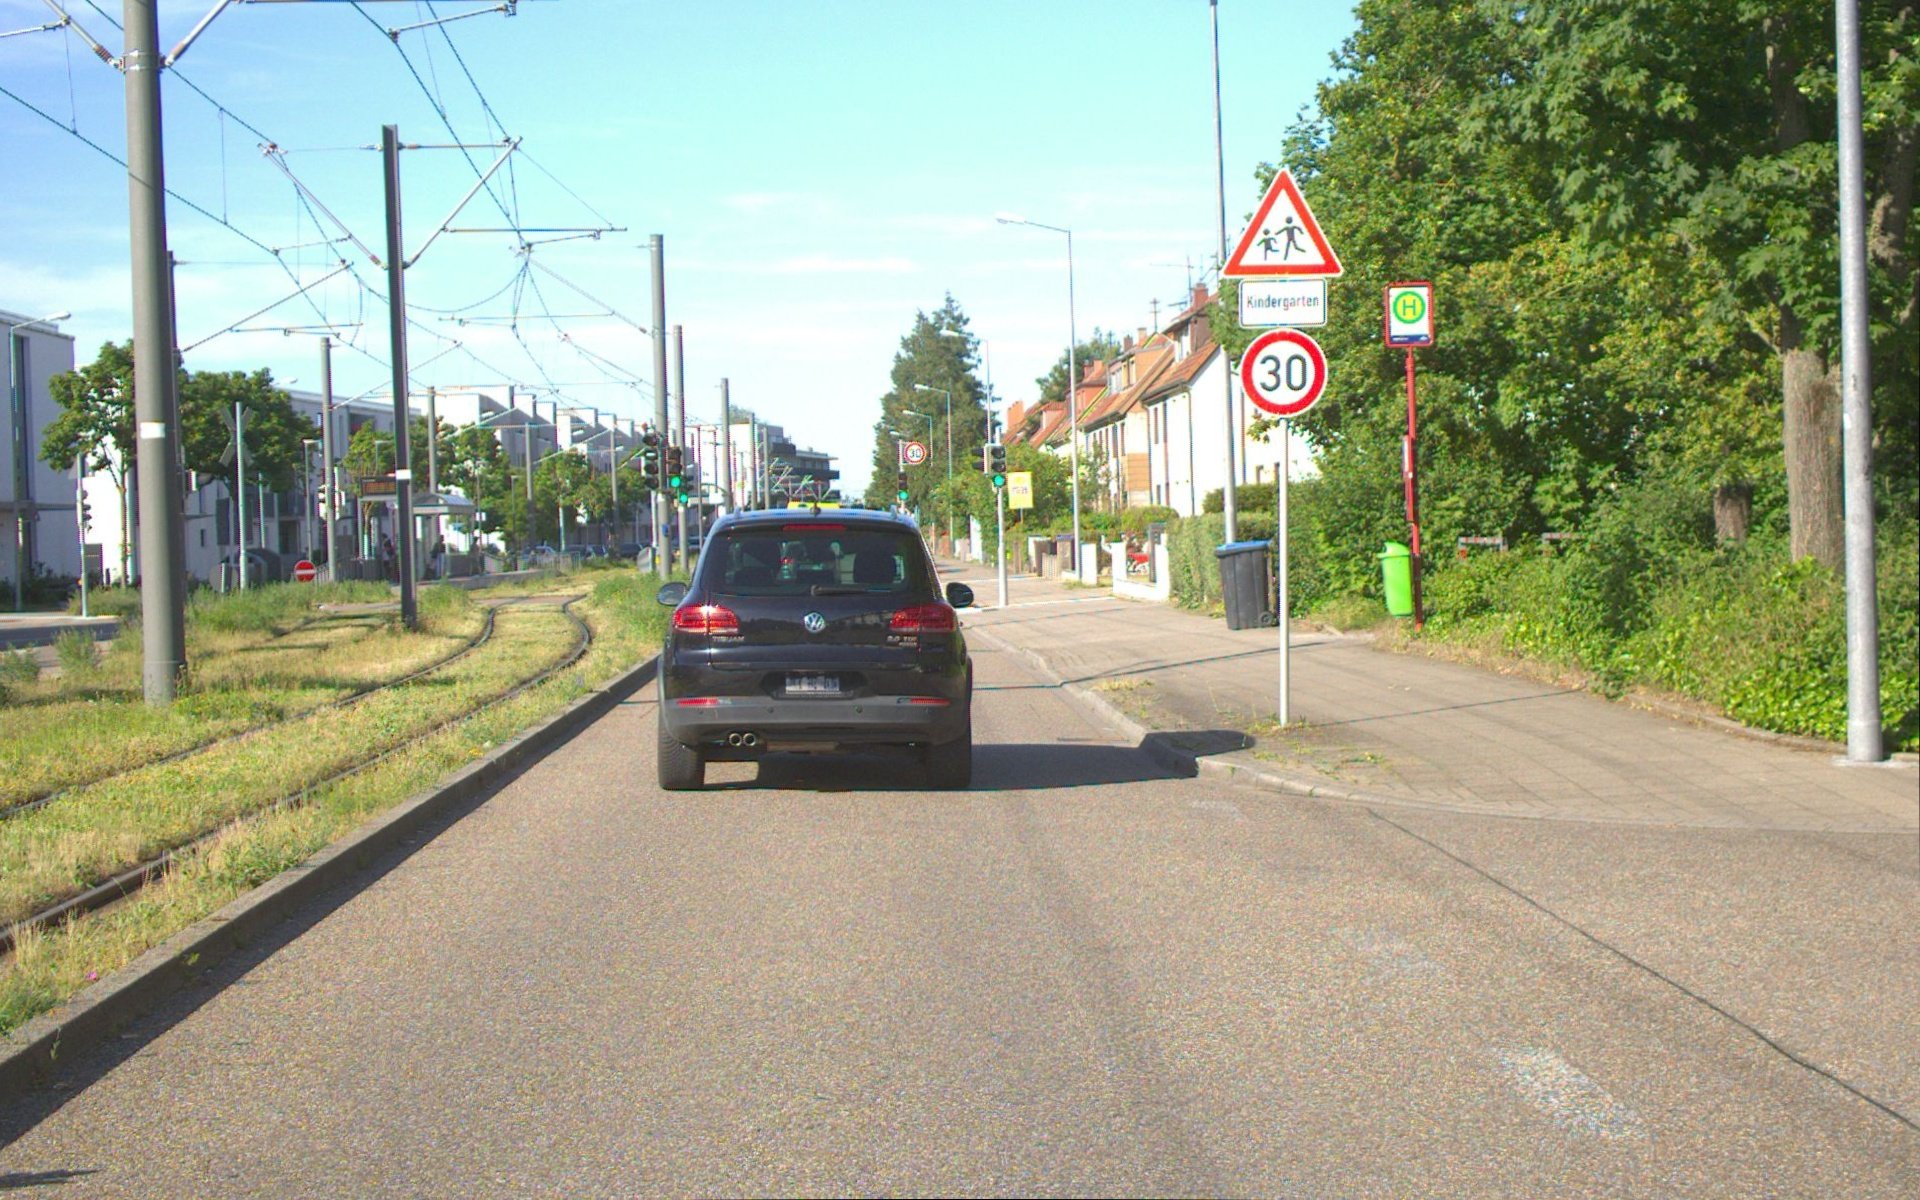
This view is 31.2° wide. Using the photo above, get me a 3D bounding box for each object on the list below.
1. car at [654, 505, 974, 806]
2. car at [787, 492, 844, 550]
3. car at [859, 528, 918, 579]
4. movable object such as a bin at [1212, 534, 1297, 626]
[{"bbox_3d":[-0.941,0.272,21.240,1.775,1.664,4.001,-1,1,-4],"label":"car"},{"bbox_3d":[-6.628,-3.636,158.470,2.394,2.556,5.530,-2,1,-1],"label":"car"},{"bbox_3d":[-2.443,-1.598,116.926,1.775,1.664,4.001,-2,1,-4],"label":"car"},{"bbox_3d":[3.731,-0.266,43.644,0.976,1.107,1.170,-2,1,2],"label":"movable object such as a bin"}]
